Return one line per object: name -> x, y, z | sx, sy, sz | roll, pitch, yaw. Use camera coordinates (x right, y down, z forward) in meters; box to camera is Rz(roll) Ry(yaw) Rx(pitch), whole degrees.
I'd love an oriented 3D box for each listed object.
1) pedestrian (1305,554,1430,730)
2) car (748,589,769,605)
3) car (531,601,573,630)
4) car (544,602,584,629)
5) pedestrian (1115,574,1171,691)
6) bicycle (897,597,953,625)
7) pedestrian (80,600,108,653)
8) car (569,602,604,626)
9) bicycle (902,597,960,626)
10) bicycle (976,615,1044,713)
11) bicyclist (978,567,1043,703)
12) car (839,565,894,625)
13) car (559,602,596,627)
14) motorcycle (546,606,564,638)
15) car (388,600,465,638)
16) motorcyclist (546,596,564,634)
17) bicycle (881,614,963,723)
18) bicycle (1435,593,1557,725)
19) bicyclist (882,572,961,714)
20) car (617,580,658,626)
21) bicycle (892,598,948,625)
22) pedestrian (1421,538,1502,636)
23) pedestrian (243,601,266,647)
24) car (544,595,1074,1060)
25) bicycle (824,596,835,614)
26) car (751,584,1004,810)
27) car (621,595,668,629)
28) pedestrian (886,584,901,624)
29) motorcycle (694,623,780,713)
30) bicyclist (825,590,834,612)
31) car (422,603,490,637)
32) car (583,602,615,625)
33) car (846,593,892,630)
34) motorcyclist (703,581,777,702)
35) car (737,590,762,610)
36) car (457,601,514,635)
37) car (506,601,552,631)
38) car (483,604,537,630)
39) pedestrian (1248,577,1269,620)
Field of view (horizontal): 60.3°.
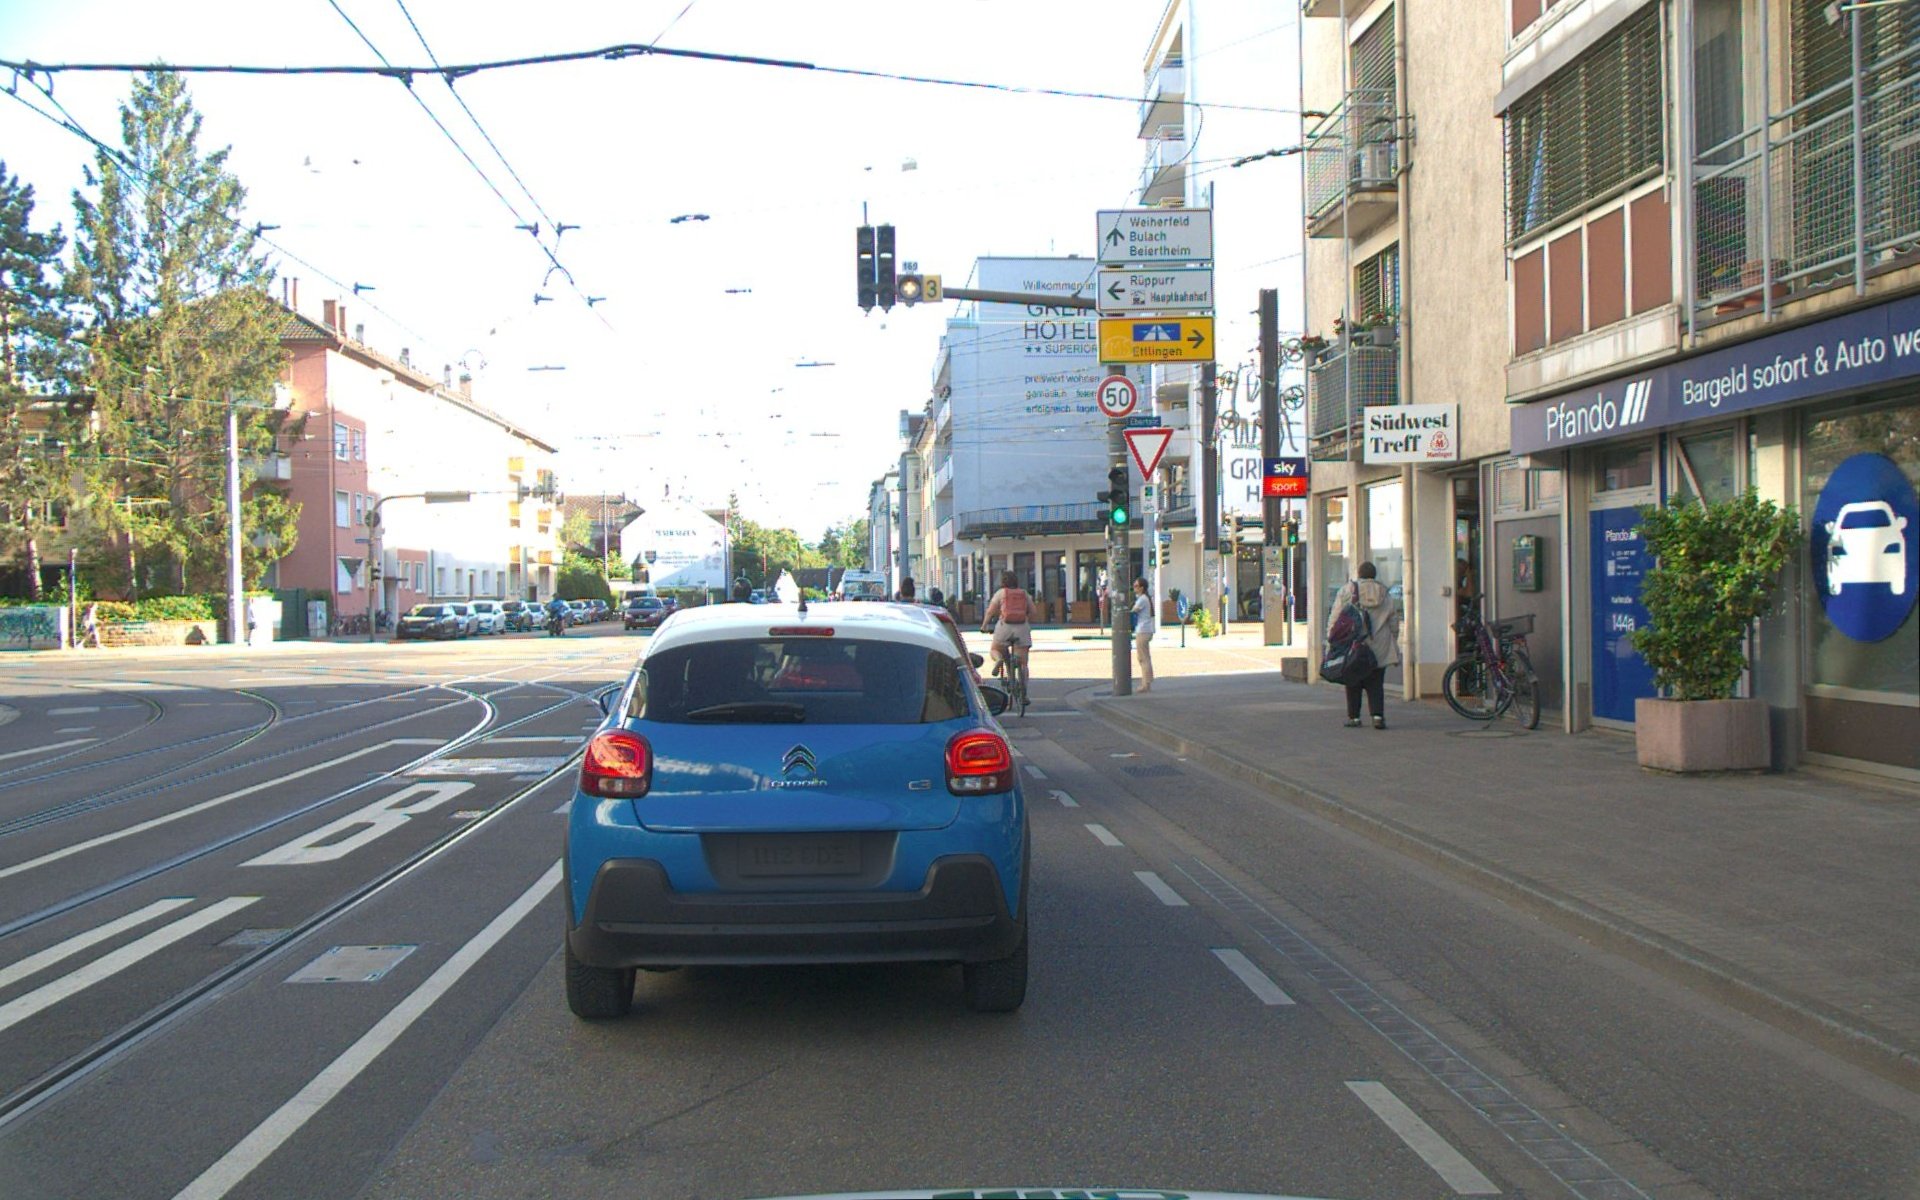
pedestrian -> 3.956, 0.390, 16.110 | 0.868, 1.619, 0.809 | -3, 1, -9
car -> -22.858, -0.314, 187.485 | 2.033, 1.793, 5.032 | 1, 0, -4
car -> -24.076, 0.909, 97.751 | 1.833, 1.604, 3.995 | 1, 0, -6
car -> -24.500, 0.921, 102.362 | 1.833, 1.604, 3.995 | 1, 0, -6
pedestrian -> 2.681, 0.470, 24.202 | 0.528, 1.652, 0.733 | -5, -2, 21
bicycle -> -1.434, 0.445, 67.142 | 2.208, 1.019, 0.855 | -2, 0, -6
pedestrian -> -29.216, 0.883, 55.812 | 0.771, 1.752, 0.699 | 1, -1, -24
car -> -25.323, 0.948, 112.357 | 1.833, 1.604, 3.995 | 1, 0, -6
bicycle -> -1.145, 0.454, 65.779 | 2.208, 1.019, 0.855 | -2, 0, -6
bicycle -> 0.669, 0.802, 21.581 | 0.794, 1.202, 2.065 | 1, 0, 4
bicyclist -> 0.665, 0.447, 21.563 | 0.794, 1.721, 0.935 | 1, 0, 4
car -> -4.145, -0.207, 72.756 | 2.221, 2.525, 5.002 | 0, 0, -5
car -> -24.748, 0.937, 107.209 | 1.833, 1.604, 3.995 | 1, 0, -6
motorcycle -> -16.332, 0.888, 66.714 | 0.700, 1.241, 1.958 | -1, -2, -14
car -> -22.099, 0.815, 68.706 | 2.112, 1.457, 4.435 | 1, -2, -5
motorcyclist -> -16.365, 0.615, 66.779 | 0.681, 1.523, 0.682 | -1, -2, -14
bicycle -> -0.474, 0.808, 20.264 | 0.921, 1.245, 2.094 | 1, 0, -2
bicycle -> 5.092, 0.539, 15.815 | 0.486, 1.182, 1.776 | -1, 0, -4
bicyclist -> -0.484, 0.520, 20.537 | 0.921, 1.702, 1.079 | 1, 0, -2
car -> -23.120, 0.238, 118.788 | 2.370, 3.197, 3.486 | 1, 0, -4
bicycle -> -1.665, 0.455, 68.247 | 2.208, 1.019, 0.855 | -2, 0, -6
pedestrian -> 5.873, -0.154, 19.371 | 0.618, 1.106, 0.670 | -2, 1, -38
pedestrian -> -24.776, 0.833, 58.081 | 0.561, 1.596, 0.517 | 1, -1, 31
car -> -0.625, 0.726, 7.169 | 1.702, 1.478, 3.659 | 0, 0, -5
bicycle -> -12.316, 0.472, 156.221 | 0.774, 1.699, 2.230 | 1, 0, 1
car -> -0.746, 0.667, 13.448 | 1.750, 1.548, 3.758 | 1, 1, -5
car -> -14.511, 0.536, 76.163 | 1.744, 1.512, 3.824 | -1, 0, -5
pedestrian -> -2.809, 0.172, 69.597 | 0.600, 1.683, 0.671 | 1, -1, -2
motorcycle -> -2.823, 0.844, 21.142 | 0.837, 1.065, 1.942 | 1, 0, -1
bicyclist -> -12.309, 0.064, 156.226 | 0.774, 2.060, 0.986 | 1, -1, 0
car -> -22.351, 0.863, 73.483 | 1.865, 1.462, 4.100 | 1, 0, -3
car -> -25.847, 0.965, 118.519 | 1.833, 1.604, 3.995 | 1, 0, -6
car -> -3.736, 0.475, 67.779 | 1.626, 1.456, 3.882 | 1, 0, -7
motorcyclist -> -2.823, 0.531, 21.286 | 0.837, 1.514, 0.729 | 1, -1, -1
car -> -21.558, 0.032, 169.669 | 2.174, 1.965, 4.945 | 1, 0, -4
car -> -22.616, 0.855, 78.952 | 1.707, 1.553, 4.226 | 1, 0, -4
car -> -23.849, 0.888, 91.694 | 1.833, 1.604, 3.995 | 1, 0, -6
car -> -23.291, 0.865, 85.704 | 1.909, 1.261, 4.278 | 1, 0, -5
pedestrian -> 11.425, -0.063, 63.273 | 0.598, 1.636, 0.668 | 1, -1, 27
